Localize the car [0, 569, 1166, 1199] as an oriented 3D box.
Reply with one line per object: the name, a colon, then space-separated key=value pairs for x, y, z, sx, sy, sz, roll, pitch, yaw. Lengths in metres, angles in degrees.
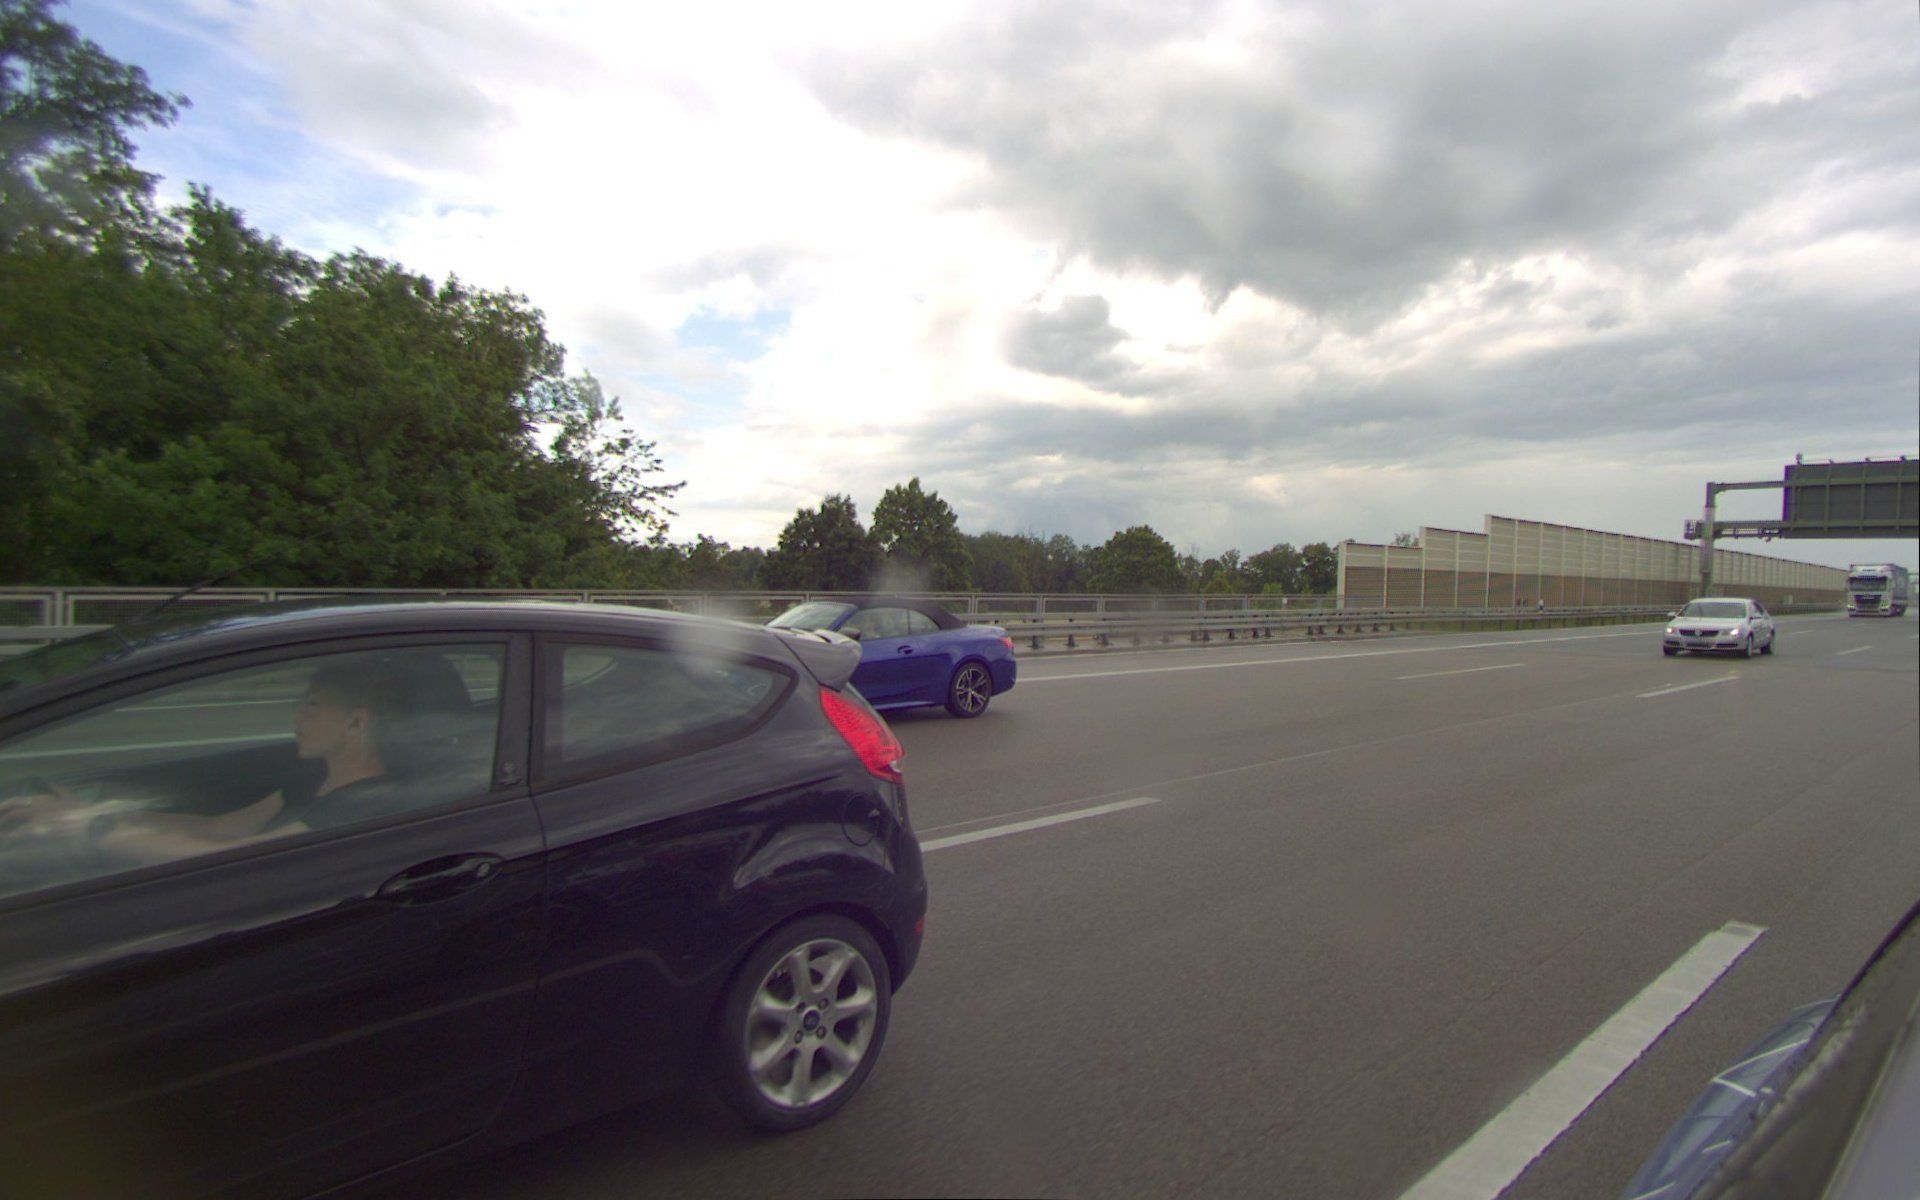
car: x=-1.385 y=0.665 z=2.958 sx=4.330 sy=1.458 sz=1.666 roll=0 pitch=1 yaw=-42

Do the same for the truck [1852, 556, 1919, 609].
truck: x=73.870 y=-1.341 z=80.516 sx=12.107 sy=3.956 sz=3.250 roll=0 pitch=0 yaw=-43

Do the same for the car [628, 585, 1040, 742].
car: x=-1.288 y=0.588 z=11.681 sx=4.508 sy=1.465 sz=1.780 roll=0 pitch=1 yaw=-41

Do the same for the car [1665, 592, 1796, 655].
car: x=19.814 y=0.556 z=25.966 sx=4.172 sy=1.465 sz=1.896 roll=0 pitch=1 yaw=-41
